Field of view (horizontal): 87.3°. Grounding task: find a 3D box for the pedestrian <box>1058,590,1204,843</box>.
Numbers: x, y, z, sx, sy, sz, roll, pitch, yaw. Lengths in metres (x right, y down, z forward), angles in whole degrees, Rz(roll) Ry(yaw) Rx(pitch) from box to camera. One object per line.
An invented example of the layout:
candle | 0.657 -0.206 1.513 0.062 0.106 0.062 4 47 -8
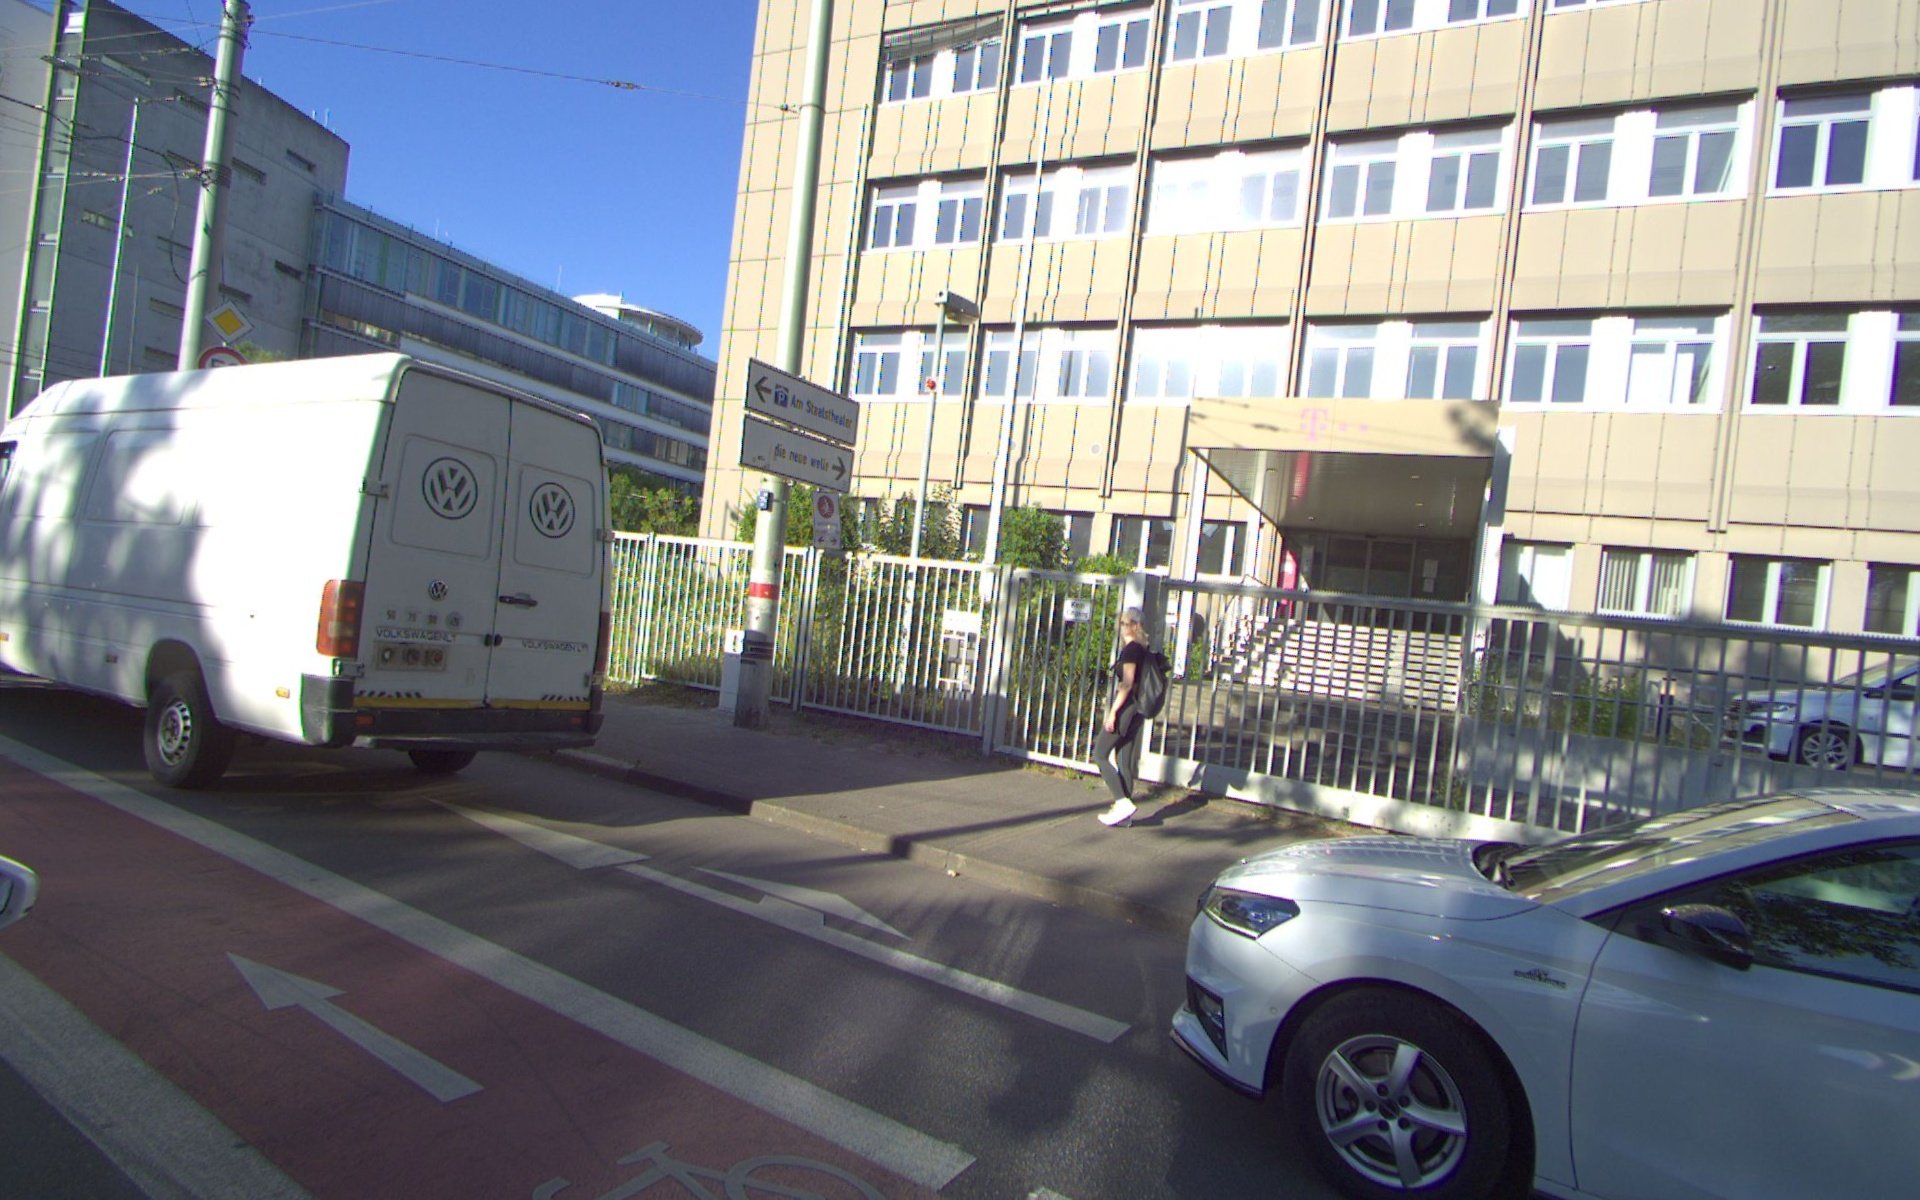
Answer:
pedestrian | 1.324 0.869 7.770 0.757 1.784 0.591 7 0 32

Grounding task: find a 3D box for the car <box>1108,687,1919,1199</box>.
car | 2.696 1.249 2.988 4.006 1.405 1.705 6 -2 30

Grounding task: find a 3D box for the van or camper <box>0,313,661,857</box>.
van or camper | -5.338 -0.294 7.409 6.196 2.748 1.973 6 -1 29

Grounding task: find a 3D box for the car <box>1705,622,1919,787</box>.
car | 12.946 1.520 13.146 4.701 1.865 1.998 6 0 27
